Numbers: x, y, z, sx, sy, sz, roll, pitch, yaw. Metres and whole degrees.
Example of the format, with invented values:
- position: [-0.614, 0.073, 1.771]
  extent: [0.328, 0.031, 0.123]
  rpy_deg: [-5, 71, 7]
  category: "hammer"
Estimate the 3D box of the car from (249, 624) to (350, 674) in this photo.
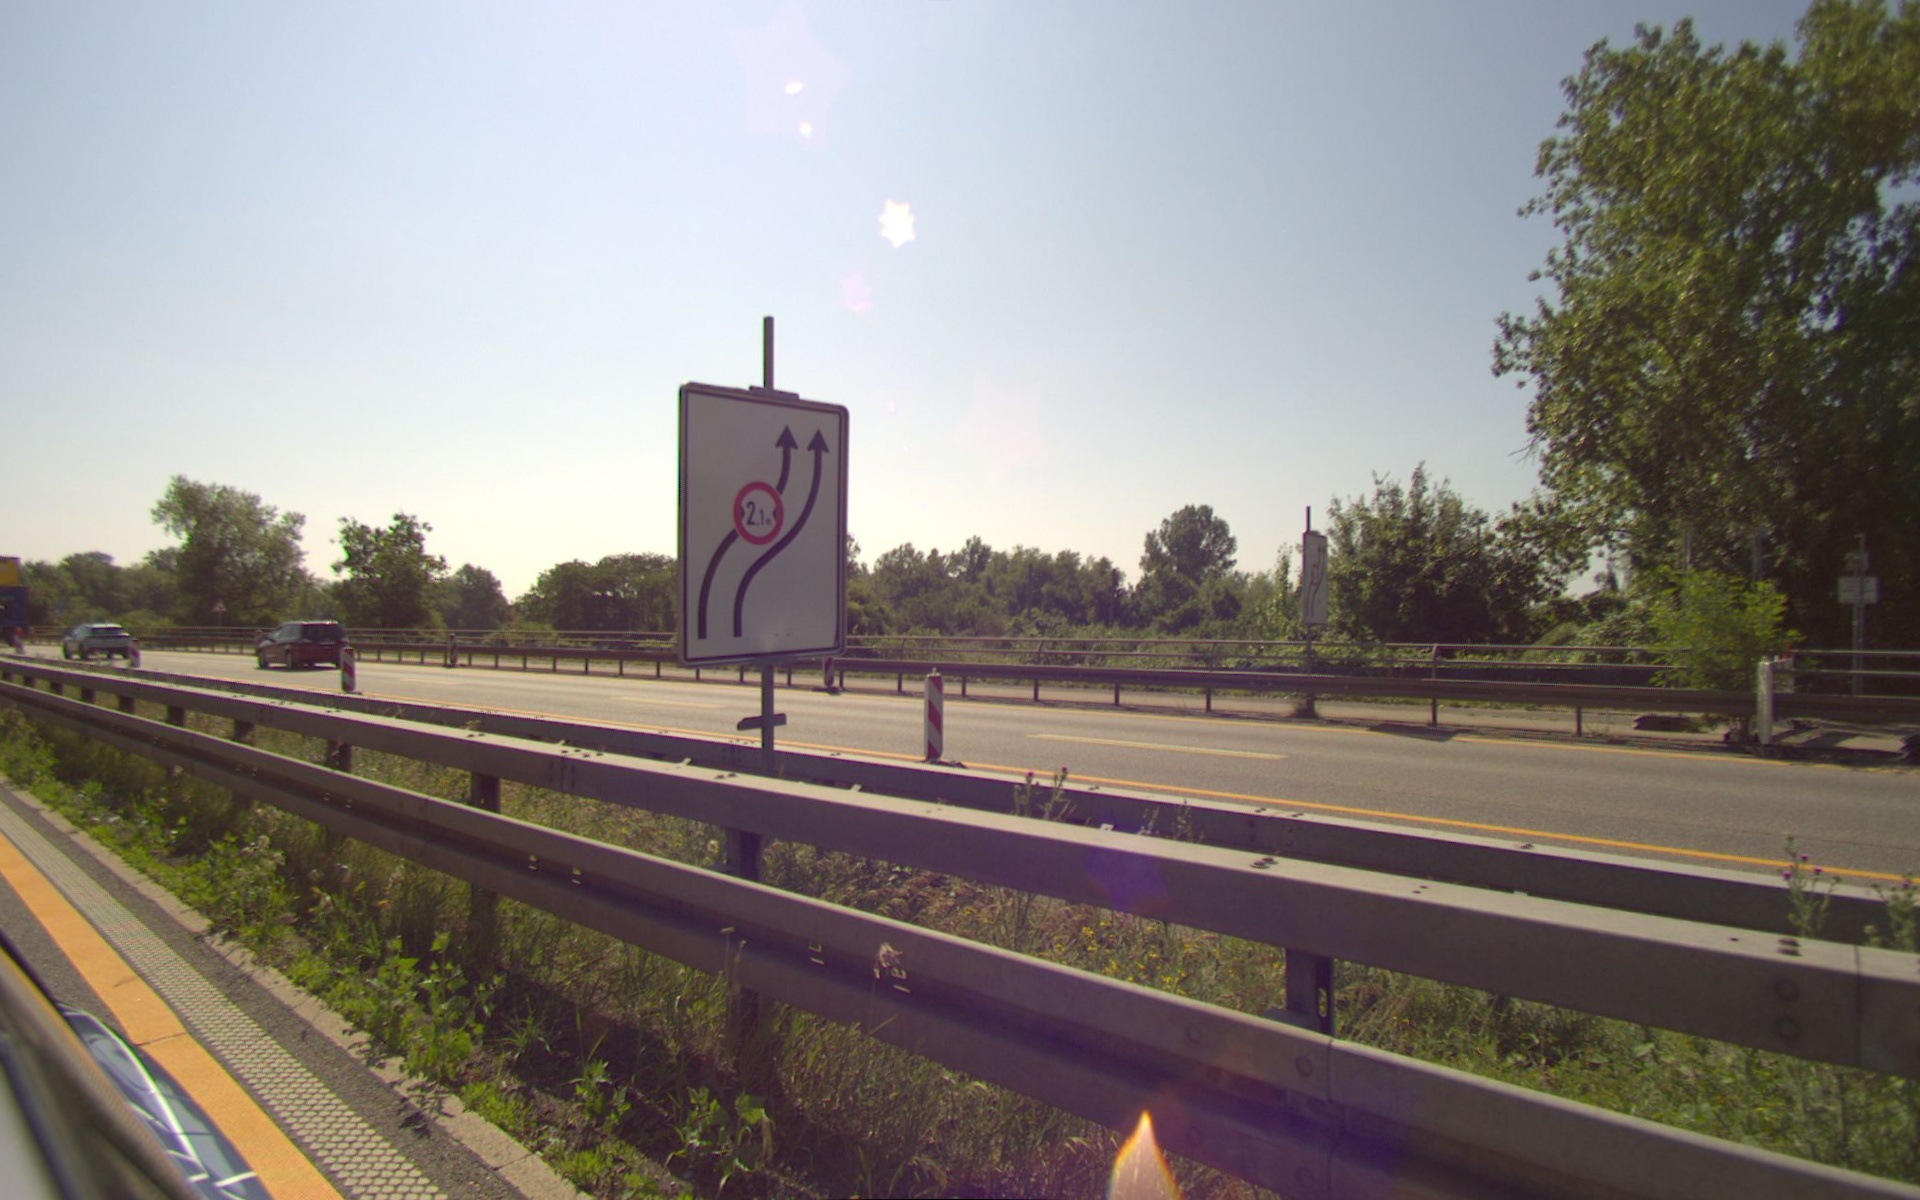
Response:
- position: [-24.820, 1.809, 37.956]
  extent: [5.018, 1.748, 1.889]
  rpy_deg: [-2, -2, 41]
  category: "car"

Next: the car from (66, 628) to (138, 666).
- position: [-40.342, 2.191, 47.551]
  extent: [4.374, 1.663, 1.889]
  rpy_deg: [-2, -3, 41]
  category: "car"

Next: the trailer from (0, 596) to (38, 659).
- position: [-67.005, 1.907, 69.533]
  extent: [9.758, 4.122, 3.014]
  rpy_deg: [-2, -1, 33]
  category: "trailer"
